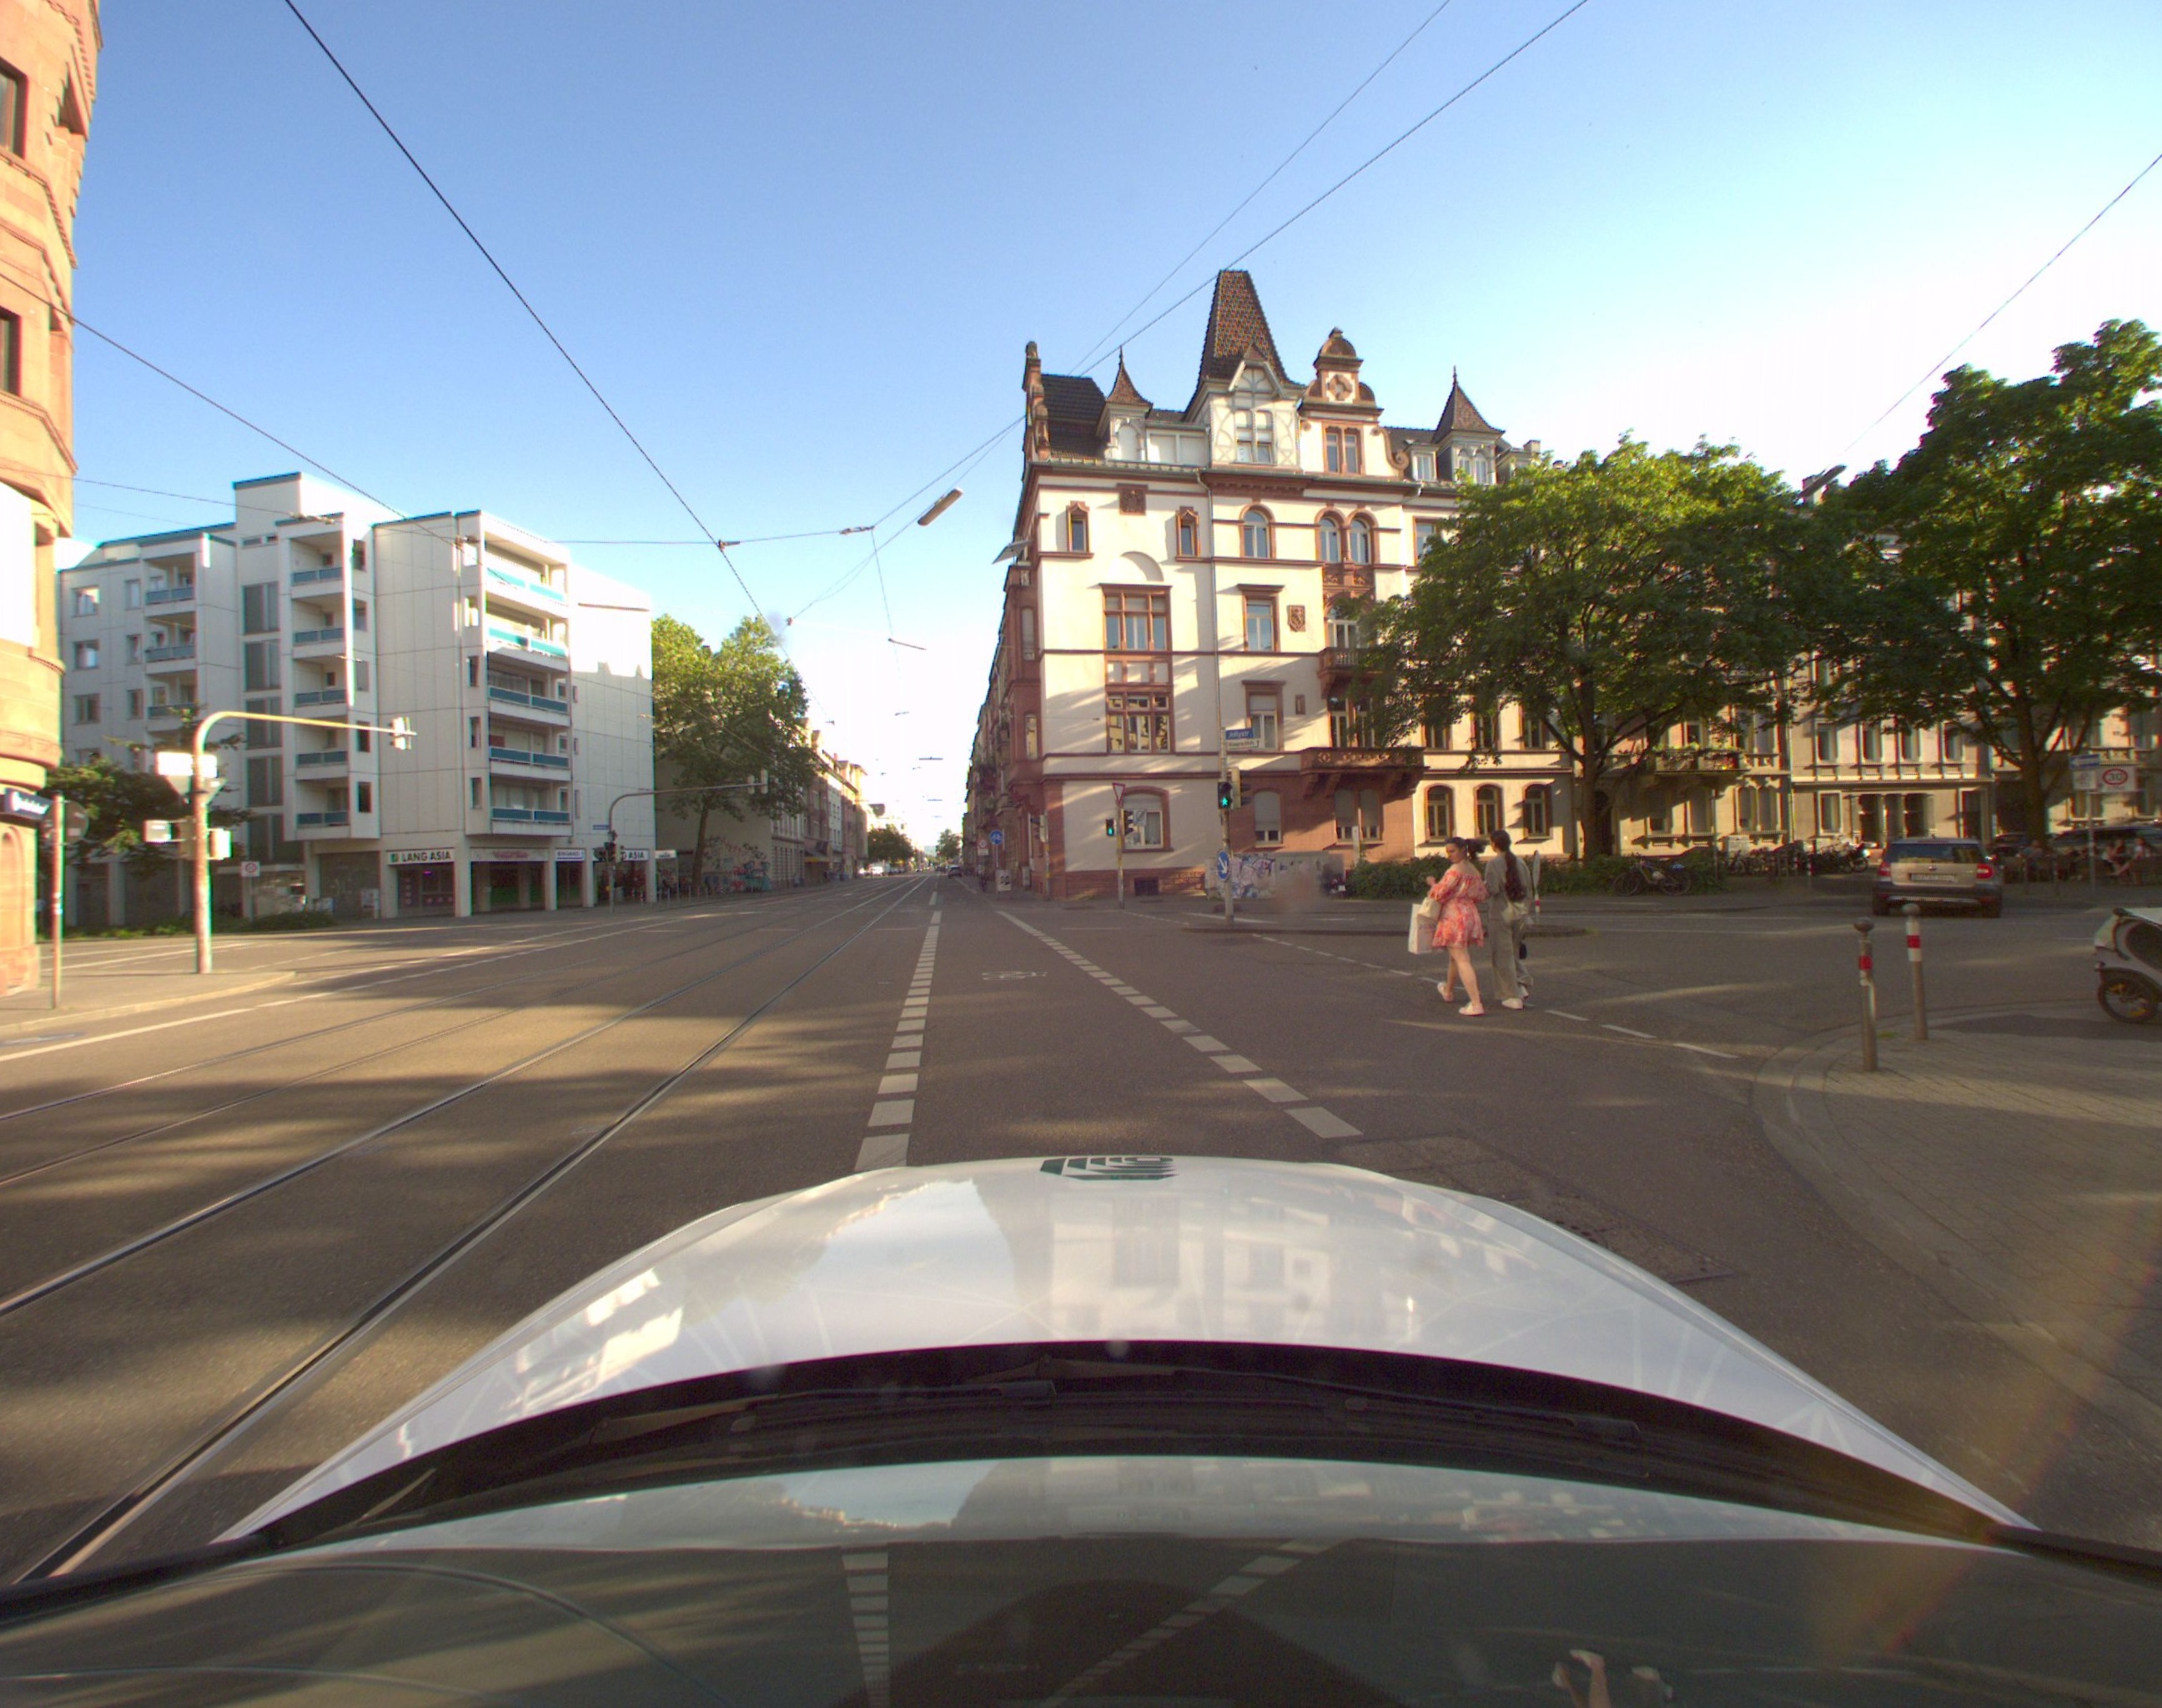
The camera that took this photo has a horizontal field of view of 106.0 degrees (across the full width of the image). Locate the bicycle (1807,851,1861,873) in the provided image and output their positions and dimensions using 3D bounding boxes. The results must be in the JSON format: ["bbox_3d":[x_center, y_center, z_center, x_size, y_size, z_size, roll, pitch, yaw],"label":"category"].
[{"bbox_3d":[32.304,0.334,34.952,0.491,0.893,1.793,-2,-1,-7],"label":"bicycle"}]

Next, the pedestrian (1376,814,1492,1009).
[{"bbox_3d":[3.453,0.536,8.027,0.801,1.800,0.763,2,0,5],"label":"pedestrian"}]

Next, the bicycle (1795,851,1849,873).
[{"bbox_3d":[31.758,0.348,34.920,0.491,0.893,1.793,-2,-1,-7],"label":"bicycle"}]

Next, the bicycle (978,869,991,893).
[{"bbox_3d":[-5.364,1.480,45.152,0.653,1.323,2.171,-2,-1,-7],"label":"bicycle"}]

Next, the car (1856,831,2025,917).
[{"bbox_3d":[18.343,0.363,17.334,4.018,1.618,1.978,-1,-1,-37],"label":"car"}]

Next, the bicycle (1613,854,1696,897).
[{"bbox_3d":[16.419,0.609,23.371,1.841,1.161,0.563,-2,1,27],"label":"bicycle"}]

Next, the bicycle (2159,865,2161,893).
[{"bbox_3d":[9.807,0.657,6.183,0.503,1.223,1.916,-2,-2,-5],"label":"bicycle"}]

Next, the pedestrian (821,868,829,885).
[{"bbox_3d":[-26.265,2.285,83.600,0.701,1.728,0.645,-2,-1,-10],"label":"pedestrian"}]

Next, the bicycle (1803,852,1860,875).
[{"bbox_3d":[30.792,0.384,33.431,1.783,0.893,0.494,-2,-1,5],"label":"bicycle"}]

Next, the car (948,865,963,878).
[{"bbox_3d":[-17.500,2.445,113.321,1.949,1.684,3.988,-2,-1,-9],"label":"car"}]

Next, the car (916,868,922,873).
[{"bbox_3d":[-48.659,4.928,244.457,1.819,1.442,3.986,-1,-1,-10],"label":"car"}]

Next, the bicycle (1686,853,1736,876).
[{"bbox_3d":[26.153,0.429,33.818,0.491,0.893,1.793,-2,-1,-7],"label":"bicycle"}]

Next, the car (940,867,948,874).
[{"bbox_3d":[-34.632,4.126,206.231,1.994,1.728,3.985,-1,-1,-10],"label":"car"}]

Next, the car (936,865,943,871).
[{"bbox_3d":[-42.035,4.089,242.125,1.994,1.728,3.985,-1,-1,-10],"label":"car"}]

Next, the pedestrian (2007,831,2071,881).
[{"bbox_3d":[29.330,0.068,24.950,0.904,1.428,0.769,-6,-2,22],"label":"pedestrian"}]

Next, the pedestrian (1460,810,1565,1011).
[{"bbox_3d":[4.276,0.522,8.115,0.686,1.908,0.672,1,2,9],"label":"pedestrian"}]

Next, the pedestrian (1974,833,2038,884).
[{"bbox_3d":[27.817,0.134,24.512,0.904,1.428,0.770,-6,-2,24],"label":"pedestrian"}]

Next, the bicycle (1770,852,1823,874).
[{"bbox_3d":[30.435,0.380,34.650,0.491,0.893,1.793,-2,-1,-7],"label":"bicycle"}]

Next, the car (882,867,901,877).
[{"bbox_3d":[-45.374,4.299,194.774,4.017,2.014,1.978,-1,-1,-35],"label":"car"}]

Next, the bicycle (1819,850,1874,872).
[{"bbox_3d":[32.937,0.320,35.071,0.491,0.893,1.793,-2,-1,-7],"label":"bicycle"}]

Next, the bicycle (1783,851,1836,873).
[{"bbox_3d":[31.096,0.363,34.794,0.491,0.893,1.793,-2,-1,-7],"label":"bicycle"}]

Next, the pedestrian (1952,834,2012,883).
[{"bbox_3d":[28.181,0.145,25.491,0.904,1.428,0.769,-6,-2,22],"label":"pedestrian"}]

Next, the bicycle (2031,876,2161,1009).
[{"bbox_3d":[8.991,0.714,6.810,0.775,1.045,1.062,-2,-2,0],"label":"bicycle"}]

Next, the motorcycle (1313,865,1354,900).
[{"bbox_3d":[8.409,0.933,27.206,0.716,1.020,2.288,-2,1,2],"label":"motorcycle"}]

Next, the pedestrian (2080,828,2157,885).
[{"bbox_3d":[27.857,0.078,21.881,0.904,1.428,0.769,-6,-2,22],"label":"pedestrian"}]

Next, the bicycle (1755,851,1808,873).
[{"bbox_3d":[29.515,0.350,34.343,0.491,0.893,1.793,-2,-1,-7],"label":"bicycle"}]

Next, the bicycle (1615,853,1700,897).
[{"bbox_3d":[16.128,0.606,22.840,1.841,1.161,0.563,-2,1,27],"label":"bicycle"}]

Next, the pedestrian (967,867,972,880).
[{"bbox_3d":[-14.883,2.588,108.775,0.544,1.780,0.747,-2,-1,-9],"label":"pedestrian"}]

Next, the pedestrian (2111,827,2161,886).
[{"bbox_3d":[27.475,0.068,20.911,0.904,1.428,0.770,-6,-2,24],"label":"pedestrian"}]

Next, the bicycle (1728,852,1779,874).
[{"bbox_3d":[28.043,0.381,33.993,0.491,0.893,1.793,-2,-1,-7],"label":"bicycle"}]

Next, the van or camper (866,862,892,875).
[{"bbox_3d":[-39.741,2.818,160.264,4.674,2.563,1.976,0,-2,-41],"label":"van or camper"}]

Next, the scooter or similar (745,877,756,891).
[{"bbox_3d":[-25.319,2.299,62.423,0.517,1.045,1.472,-2,-1,-12],"label":"scooter or similar"}]

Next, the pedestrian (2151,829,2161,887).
[{"bbox_3d":[27.111,0.055,19.827,0.904,1.428,0.769,-6,-2,22],"label":"pedestrian"}]

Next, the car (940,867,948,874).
[{"bbox_3d":[-36.309,4.467,215.557,1.994,1.728,3.985,-1,-1,-10],"label":"car"}]

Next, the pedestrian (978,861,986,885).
[{"bbox_3d":[-7.768,1.487,63.766,0.544,1.780,0.502,-2,-1,-9],"label":"pedestrian"}]

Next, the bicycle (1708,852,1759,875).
[{"bbox_3d":[27.163,0.403,33.915,0.491,0.893,1.793,-2,-1,-7],"label":"bicycle"}]

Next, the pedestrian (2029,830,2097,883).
[{"bbox_3d":[28.808,0.075,23.907,0.904,1.428,0.770,-6,-2,24],"label":"pedestrian"}]

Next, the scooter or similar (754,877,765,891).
[{"bbox_3d":[-24.709,2.280,62.569,0.517,1.057,1.472,-2,-1,-12],"label":"scooter or similar"}]

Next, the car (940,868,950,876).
[{"bbox_3d":[-29.585,3.839,176.849,1.994,1.728,3.985,-1,-1,-10],"label":"car"}]
